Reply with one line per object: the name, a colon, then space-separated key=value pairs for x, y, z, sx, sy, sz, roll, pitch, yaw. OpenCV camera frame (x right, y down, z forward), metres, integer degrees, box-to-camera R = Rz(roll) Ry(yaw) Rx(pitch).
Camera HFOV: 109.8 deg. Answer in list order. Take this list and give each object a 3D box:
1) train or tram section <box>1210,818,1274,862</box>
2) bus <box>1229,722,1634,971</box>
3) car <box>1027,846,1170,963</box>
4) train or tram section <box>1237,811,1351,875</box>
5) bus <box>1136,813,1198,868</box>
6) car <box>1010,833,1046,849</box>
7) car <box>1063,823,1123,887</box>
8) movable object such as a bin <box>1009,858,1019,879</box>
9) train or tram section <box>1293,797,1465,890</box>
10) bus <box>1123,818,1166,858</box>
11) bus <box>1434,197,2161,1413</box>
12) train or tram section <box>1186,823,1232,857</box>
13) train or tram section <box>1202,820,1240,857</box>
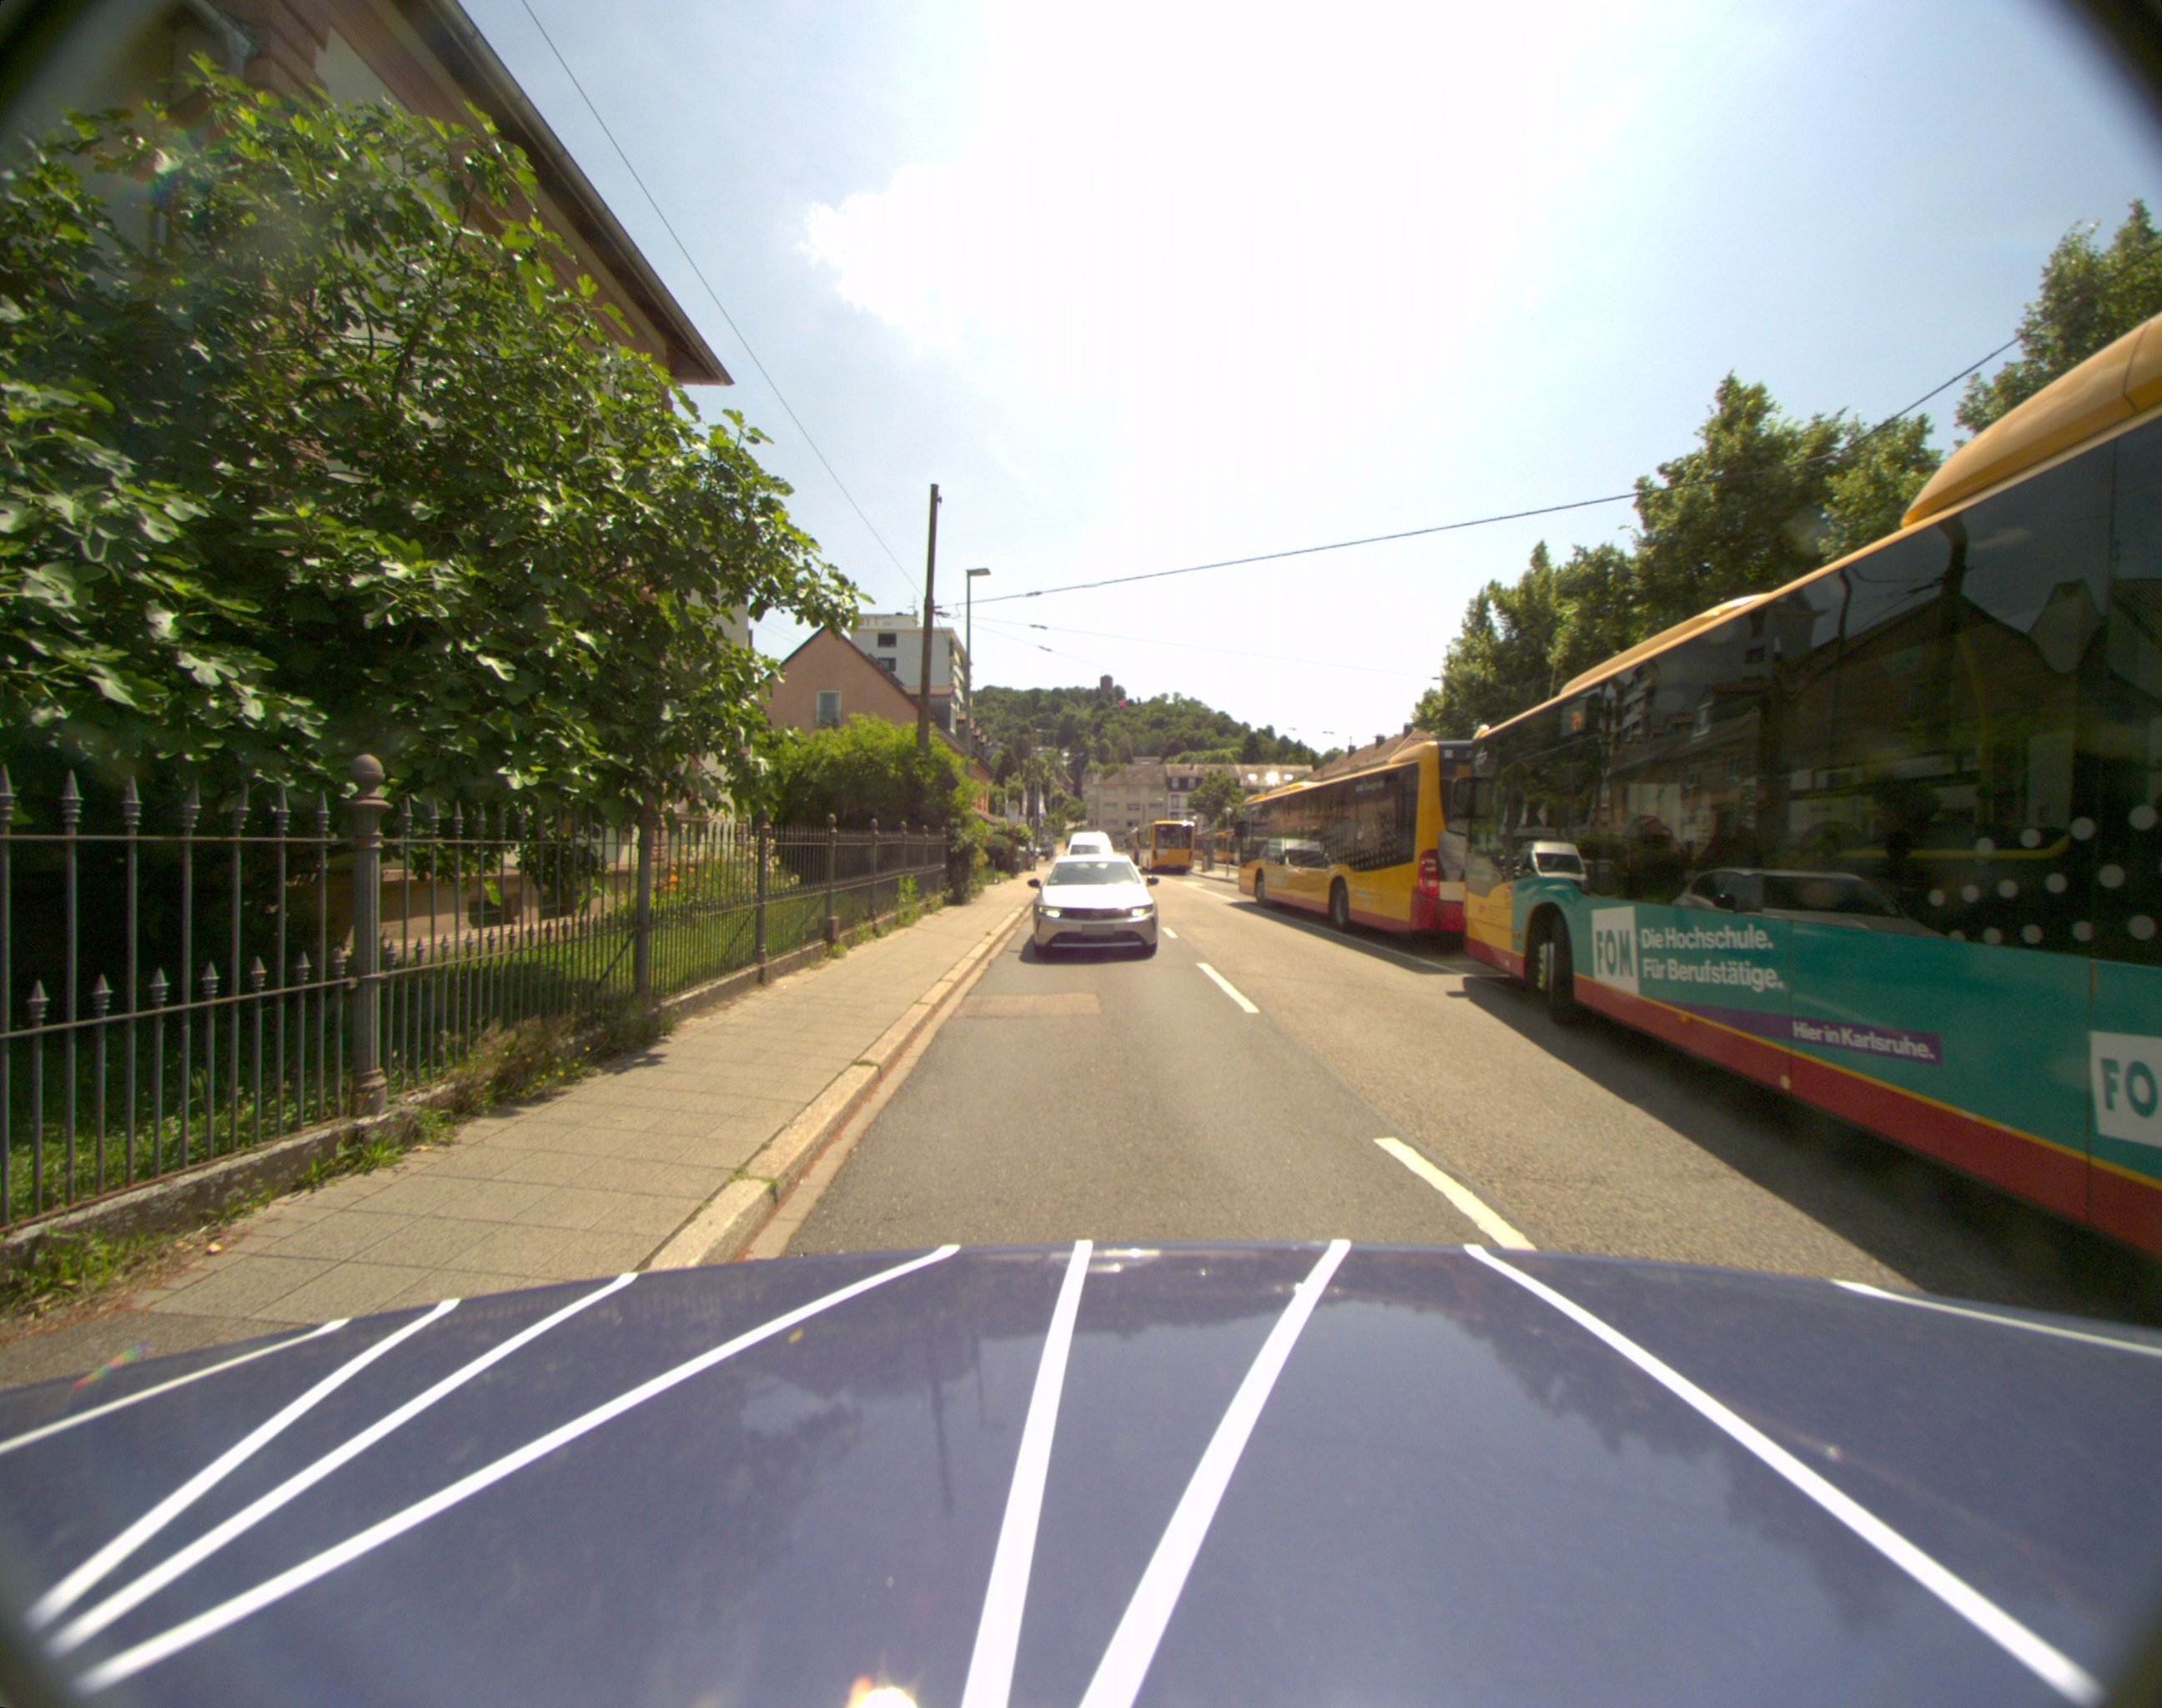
train or tram section: x=14.006 y=-1.334 z=67.486 sx=2.971 sy=3.476 sz=12.652 roll=-1 pitch=2 yaw=0
bus: x=5.819 y=-0.277 z=16.113 sx=2.915 sy=3.230 sz=12.113 roll=-1 pitch=2 yaw=0
car: x=0.360 y=0.624 z=11.900 sx=1.818 sy=1.372 sz=4.391 roll=0 pitch=2 yaw=4
train or tram section: x=14.083 y=-0.918 z=52.508 sx=2.971 sy=3.622 sz=17.345 roll=-1 pitch=2 yaw=0
bus: x=5.663 y=-1.106 z=52.082 sx=2.905 sy=3.230 sz=12.190 roll=-1 pitch=3 yaw=1
car: x=-6.356 y=-1.576 z=90.977 sx=4.277 sy=1.780 sz=1.826 roll=1 pitch=4 yaw=39
car: x=0.372 y=-0.059 z=30.341 sx=1.999 sy=2.259 sz=5.440 roll=-1 pitch=3 yaw=-3
movable object such as a bin: x=-3.140 y=0.678 z=35.552 sx=0.407 sy=0.902 sz=0.729 roll=4 pitch=3 yaw=-3
train or tram section: x=13.837 y=-0.629 z=37.292 sx=2.971 sy=3.622 sz=13.988 roll=-1 pitch=2 yaw=0
bus: x=5.771 y=-1.457 z=71.495 sx=2.915 sy=3.407 sz=12.037 roll=-1 pitch=1 yaw=0
bus: x=4.483 y=-0.153 z=3.079 sx=2.784 sy=3.190 sz=12.316 roll=-1 pitch=1 yaw=12
train or tram section: x=14.030 y=-1.608 z=84.252 sx=2.971 sy=3.476 sz=12.708 roll=-1 pitch=2 yaw=0
train or tram section: x=13.917 y=-1.590 z=75.868 sx=2.971 sy=3.476 sz=4.415 roll=1 pitch=2 yaw=0
